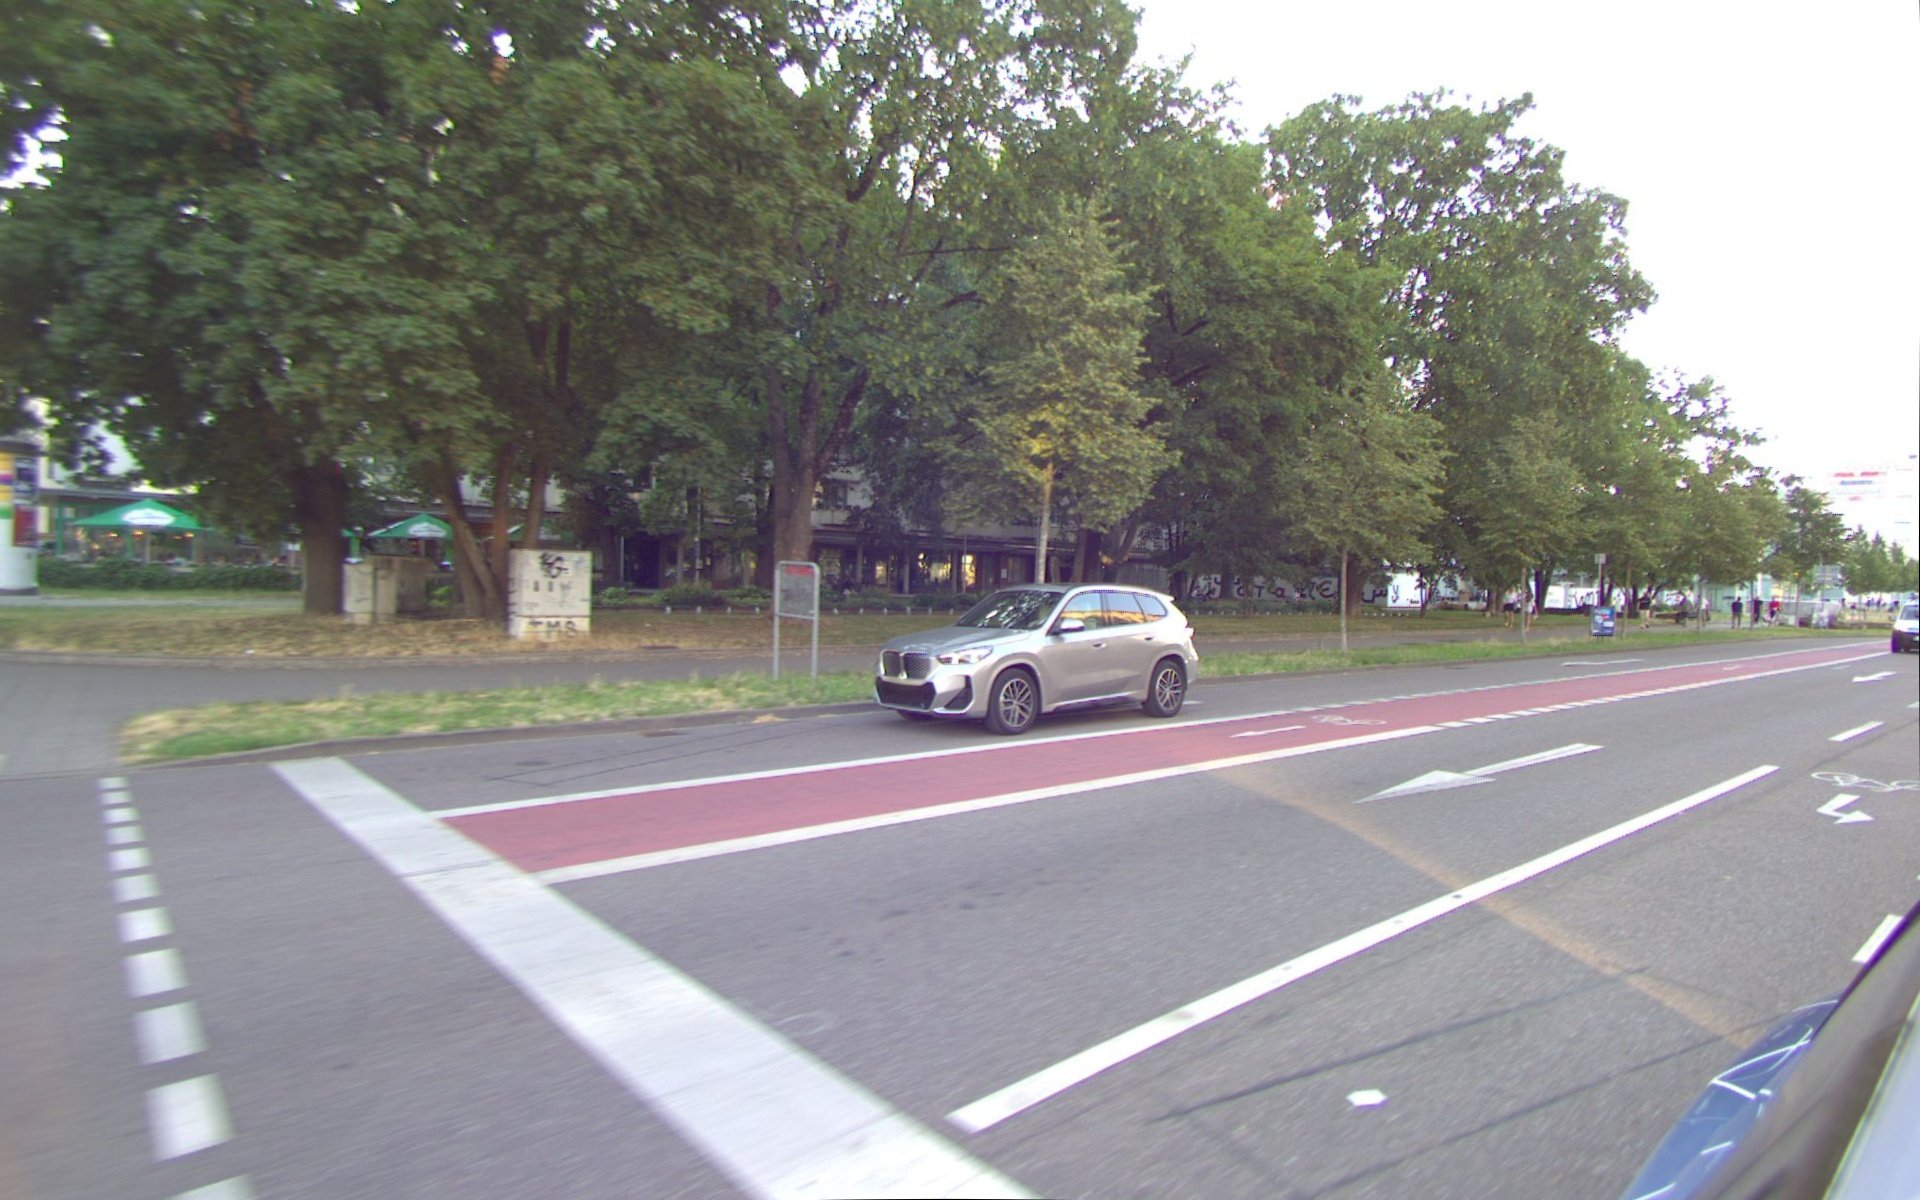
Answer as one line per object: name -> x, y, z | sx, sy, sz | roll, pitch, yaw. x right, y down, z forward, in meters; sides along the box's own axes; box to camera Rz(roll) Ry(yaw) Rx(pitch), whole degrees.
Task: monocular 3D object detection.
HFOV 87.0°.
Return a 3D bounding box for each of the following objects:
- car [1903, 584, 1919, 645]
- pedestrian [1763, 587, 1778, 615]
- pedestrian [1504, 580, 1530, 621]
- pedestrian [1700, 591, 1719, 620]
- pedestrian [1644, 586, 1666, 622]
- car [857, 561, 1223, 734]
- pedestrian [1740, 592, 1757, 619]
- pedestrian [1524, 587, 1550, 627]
car -> 32.371, 0.483, 33.090 | 4.388, 1.935, 1.803 | 0, 2, -41
pedestrian -> 49.116, 0.061, 61.302 | 0.628, 1.686, 0.637 | 2, 1, 37
pedestrian -> 22.040, 0.025, 40.076 | 0.665, 1.614, 0.646 | 1, 1, -37
pedestrian -> 38.974, 0.287, 52.636 | 0.634, 1.481, 0.632 | 1, 1, -38
pedestrian -> 32.700, 0.182, 47.621 | 0.634, 1.683, 0.632 | 1, 1, -36
car -> 1.078, 0.453, 12.078 | 4.269, 1.684, 1.885 | 1, 2, -41
pedestrian -> 41.858, 0.278, 53.732 | 0.628, 1.412, 0.637 | 2, 1, 37
pedestrian -> 22.572, 0.265, 39.602 | 0.634, 1.515, 0.677 | 1, 1, -38
